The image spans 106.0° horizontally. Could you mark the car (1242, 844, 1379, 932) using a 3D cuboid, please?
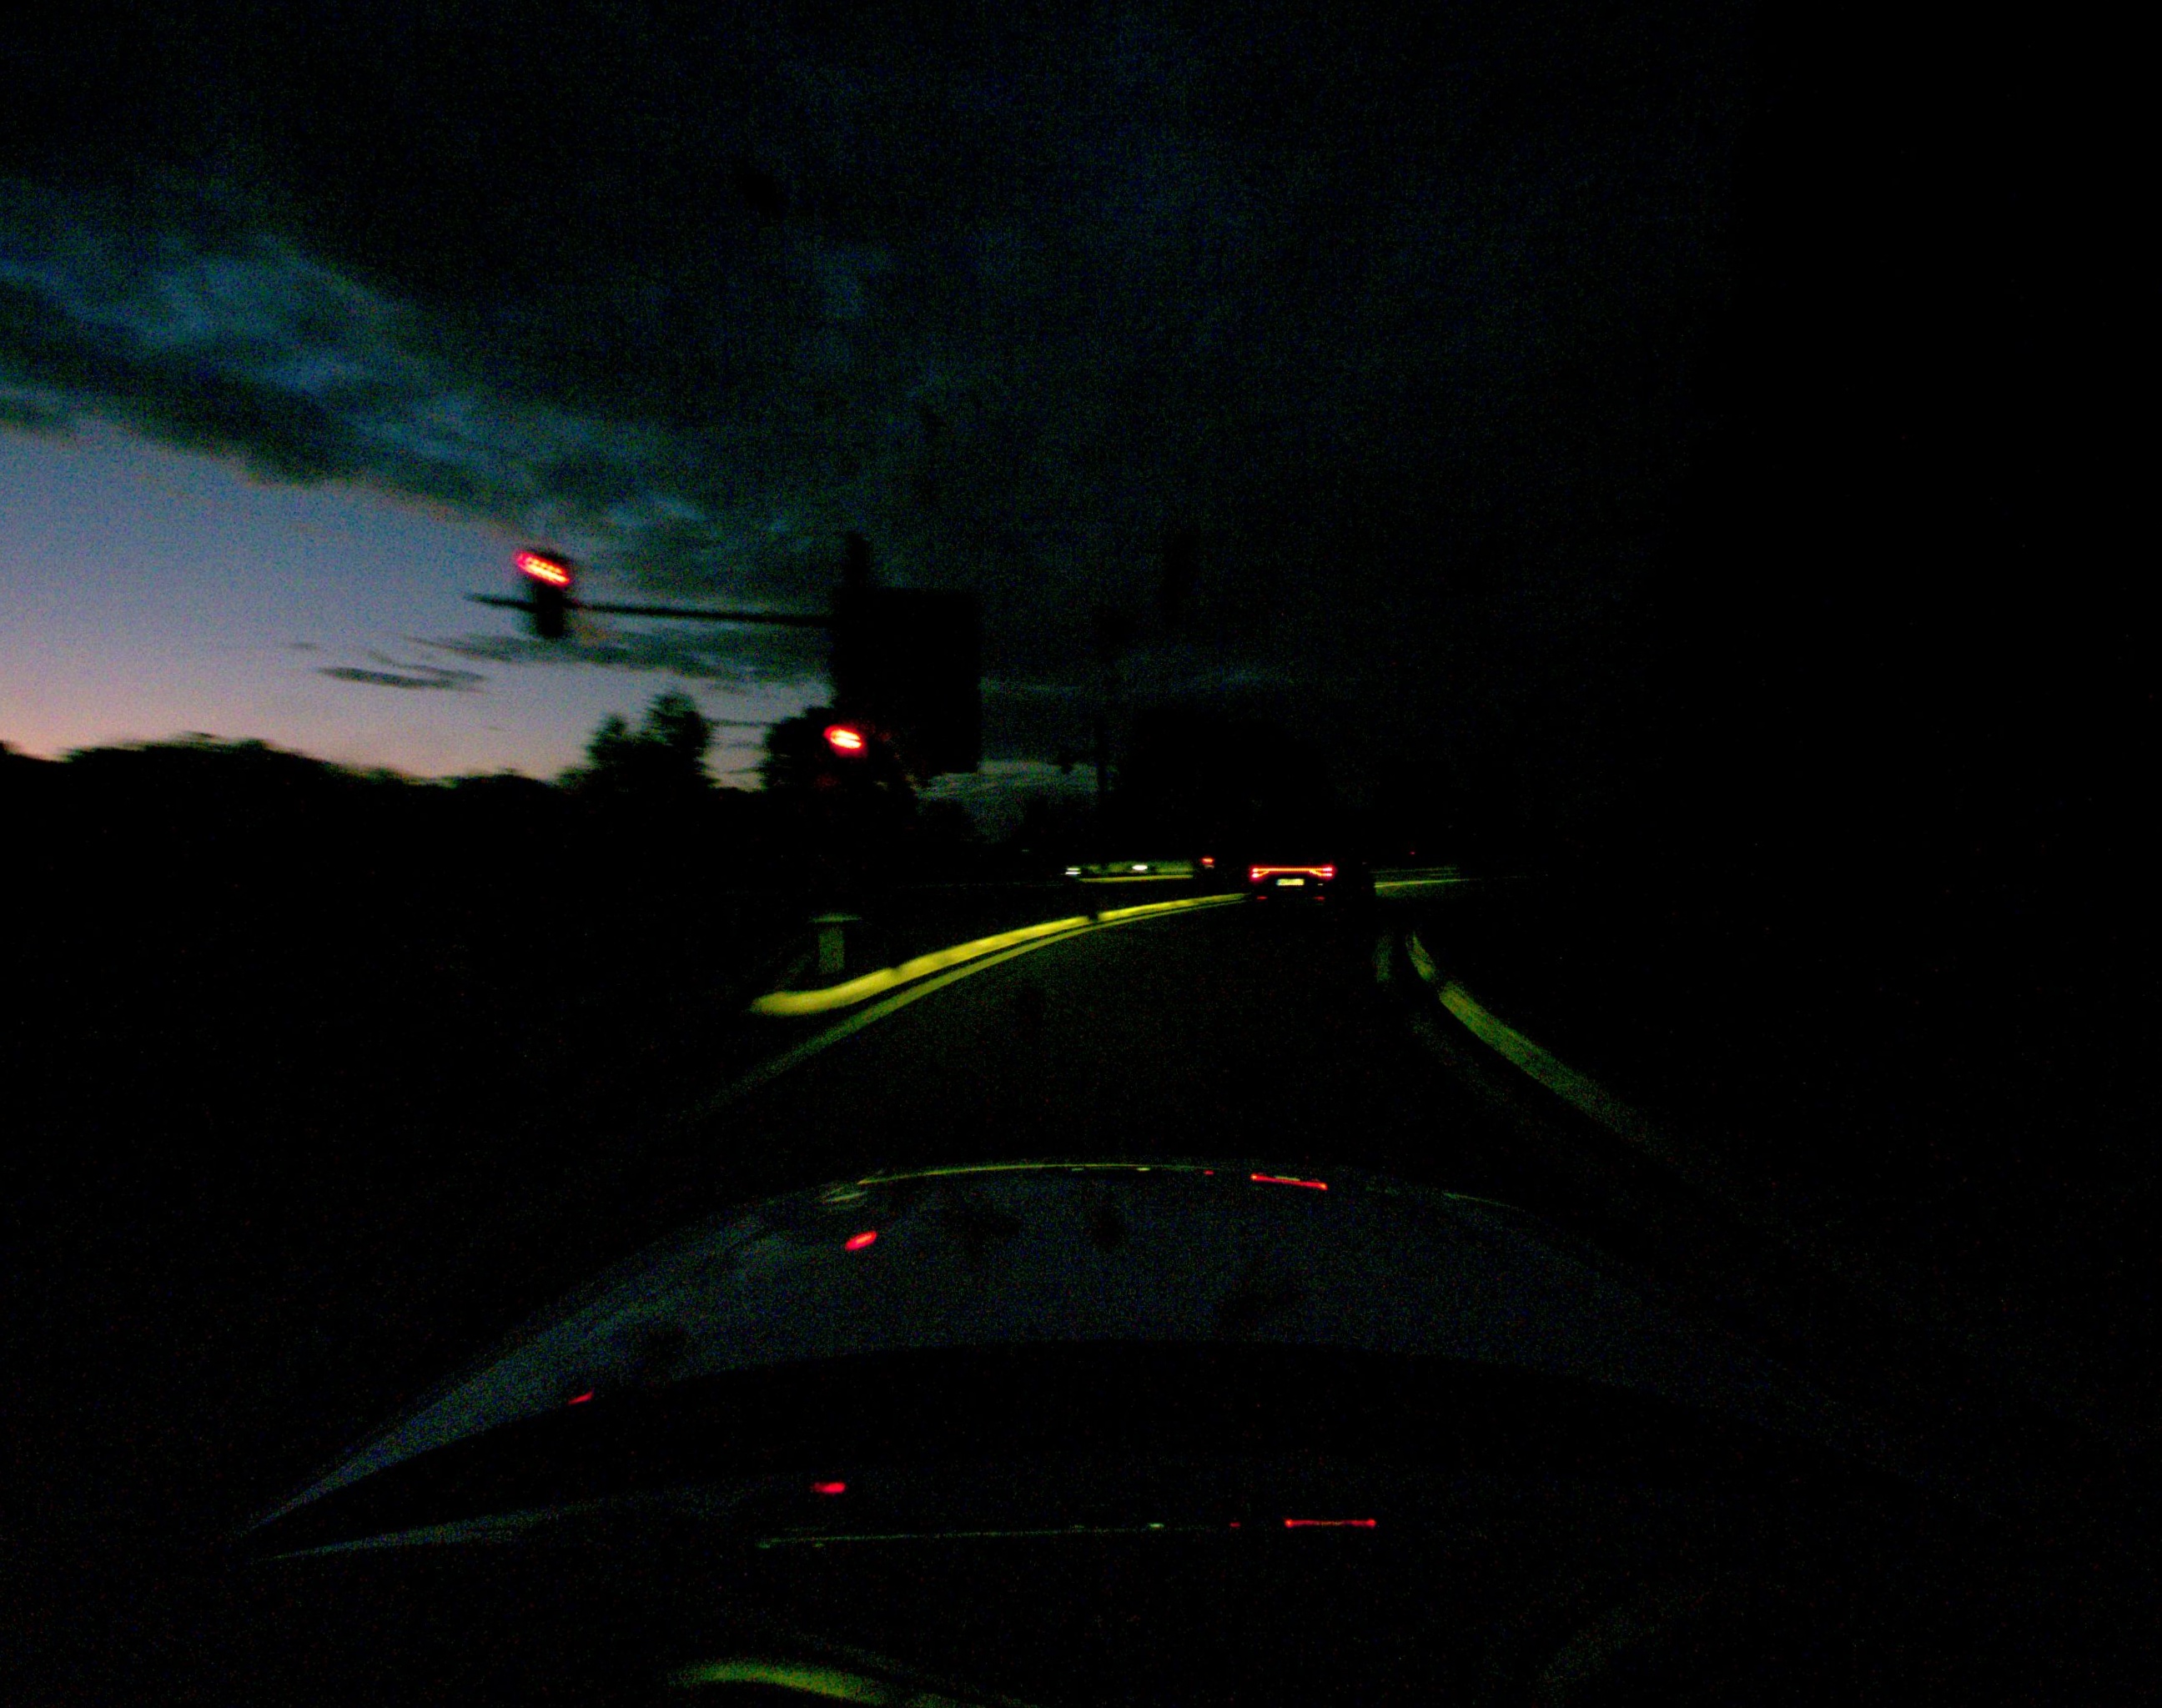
[{"bbox_3d":[5.056,0.595,17.450,1.883,1.619,4.584,0,1,28],"label":"car"}]

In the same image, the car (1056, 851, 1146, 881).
[{"bbox_3d":[1.146,0.678,46.560,4.741,1.453,1.984,-2,0,-24],"label":"car"}]

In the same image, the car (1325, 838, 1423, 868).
[{"bbox_3d":[16.298,-0.059,45.292,5.052,1.453,1.985,-2,-1,-23],"label":"car"}]

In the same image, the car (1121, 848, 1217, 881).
[{"bbox_3d":[4.764,0.572,44.104,4.881,1.682,1.983,-1,-1,-25],"label":"car"}]

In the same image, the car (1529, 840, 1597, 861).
[{"bbox_3d":[36.821,-0.243,62.212,4.739,1.453,1.984,-1,-1,-23],"label":"car"}]
